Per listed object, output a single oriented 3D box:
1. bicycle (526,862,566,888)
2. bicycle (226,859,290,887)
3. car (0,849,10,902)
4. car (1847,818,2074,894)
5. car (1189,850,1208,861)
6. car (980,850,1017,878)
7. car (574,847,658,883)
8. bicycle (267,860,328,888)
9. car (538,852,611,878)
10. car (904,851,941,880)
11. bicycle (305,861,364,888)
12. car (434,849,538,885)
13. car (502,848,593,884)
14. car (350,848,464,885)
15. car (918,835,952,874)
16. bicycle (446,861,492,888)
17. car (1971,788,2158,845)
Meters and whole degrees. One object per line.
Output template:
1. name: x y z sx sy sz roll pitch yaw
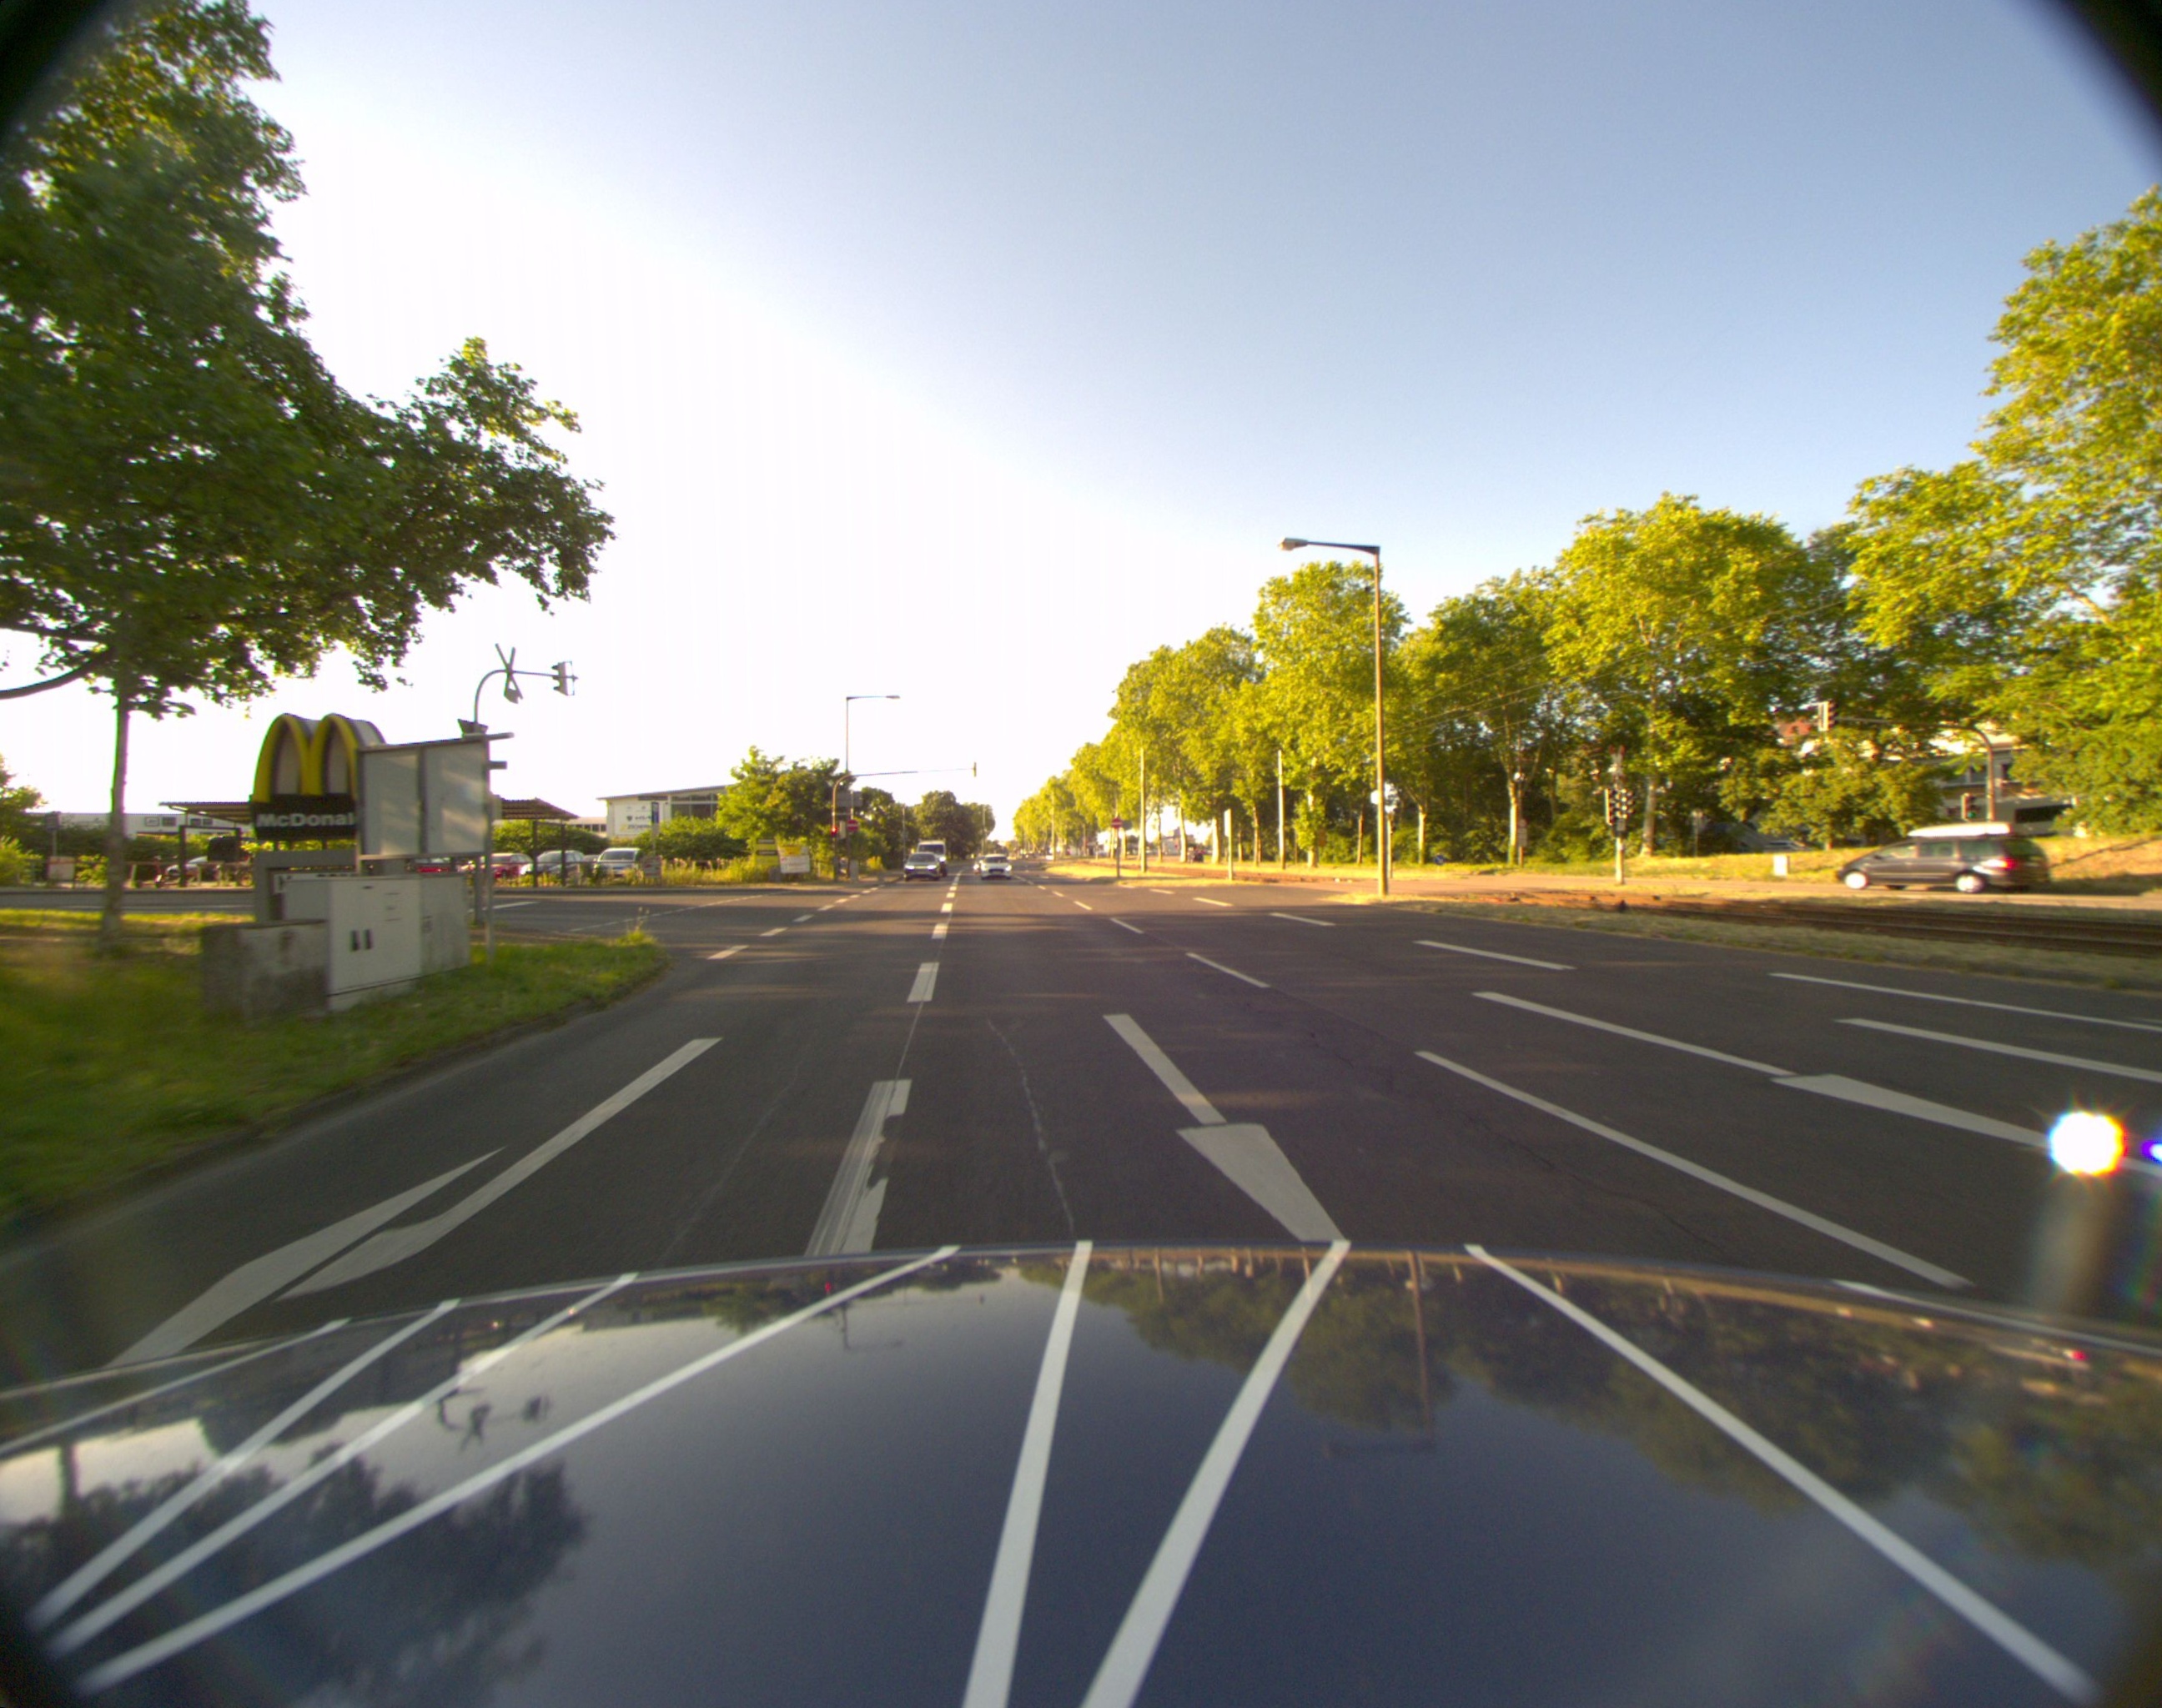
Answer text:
1. bicycle: -22.354 0.868 31.786 0.544 1.032 1.892 0 0 -7
2. bicycle: -32.483 0.732 30.029 0.544 1.032 1.893 0 0 -4
3. car: -33.067 0.602 20.644 4.267 1.546 1.825 0 0 -40
4. car: 26.980 0.061 23.551 2.000 2.150 4.188 0 0 -7
5. car: 16.501 0.199 106.941 1.630 1.433 3.982 0 0 -8
6. car: -4.870 0.582 45.387 1.875 1.608 3.999 0 0 -2
7. car: -22.926 0.528 37.678 2.120 1.639 4.224 0 0 -9
8. bicycle: -31.020 0.778 30.132 0.544 1.032 1.893 0 0 -4
9. car: -33.160 0.723 49.886 2.118 1.627 4.000 0 0 1
10. car: -9.227 0.626 44.426 1.876 1.608 4.544 0 0 -9
11. bicycle: -29.697 0.813 30.257 0.544 1.032 1.893 0 0 -4
12. car: -28.647 0.596 36.788 2.120 1.639 4.317 0 0 -9
13. car: -25.996 0.559 37.184 2.120 1.639 3.997 0 0 -9
14. car: -32.245 0.582 36.543 2.120 1.639 4.317 0 0 -9
15. car: -10.156 0.045 53.220 2.009 2.551 5.872 0 0 -8
16. bicycle: -24.865 0.810 30.899 0.544 1.032 1.892 0 0 -7
17. car: 48.438 -1.752 37.687 1.806 2.498 5.626 0 0 -3
